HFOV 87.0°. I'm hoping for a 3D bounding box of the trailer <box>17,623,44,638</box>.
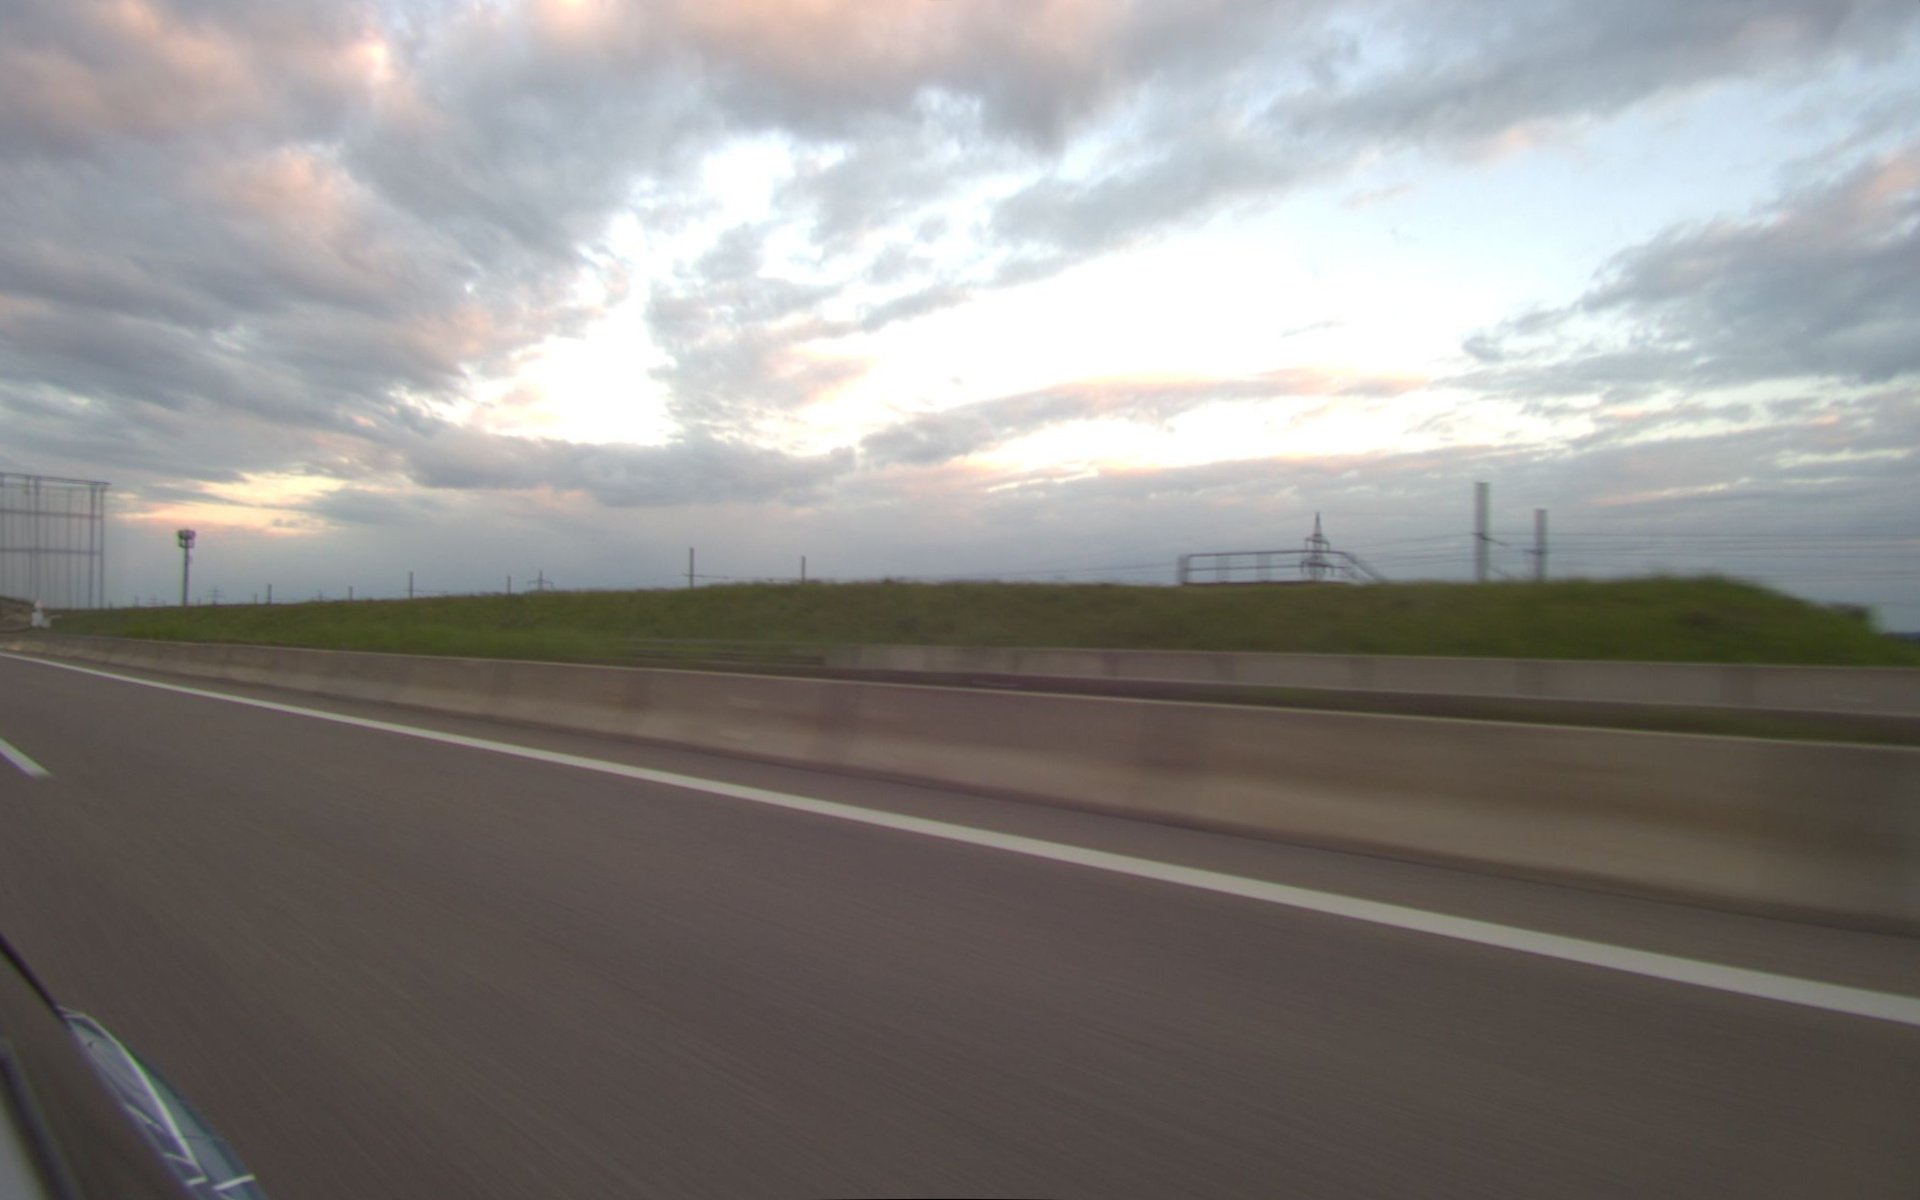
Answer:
[{"bbox_3d":[-97.289,3.185,105.905,3.927,1.564,1.667,-1,-2,42],"label":"trailer"}]
